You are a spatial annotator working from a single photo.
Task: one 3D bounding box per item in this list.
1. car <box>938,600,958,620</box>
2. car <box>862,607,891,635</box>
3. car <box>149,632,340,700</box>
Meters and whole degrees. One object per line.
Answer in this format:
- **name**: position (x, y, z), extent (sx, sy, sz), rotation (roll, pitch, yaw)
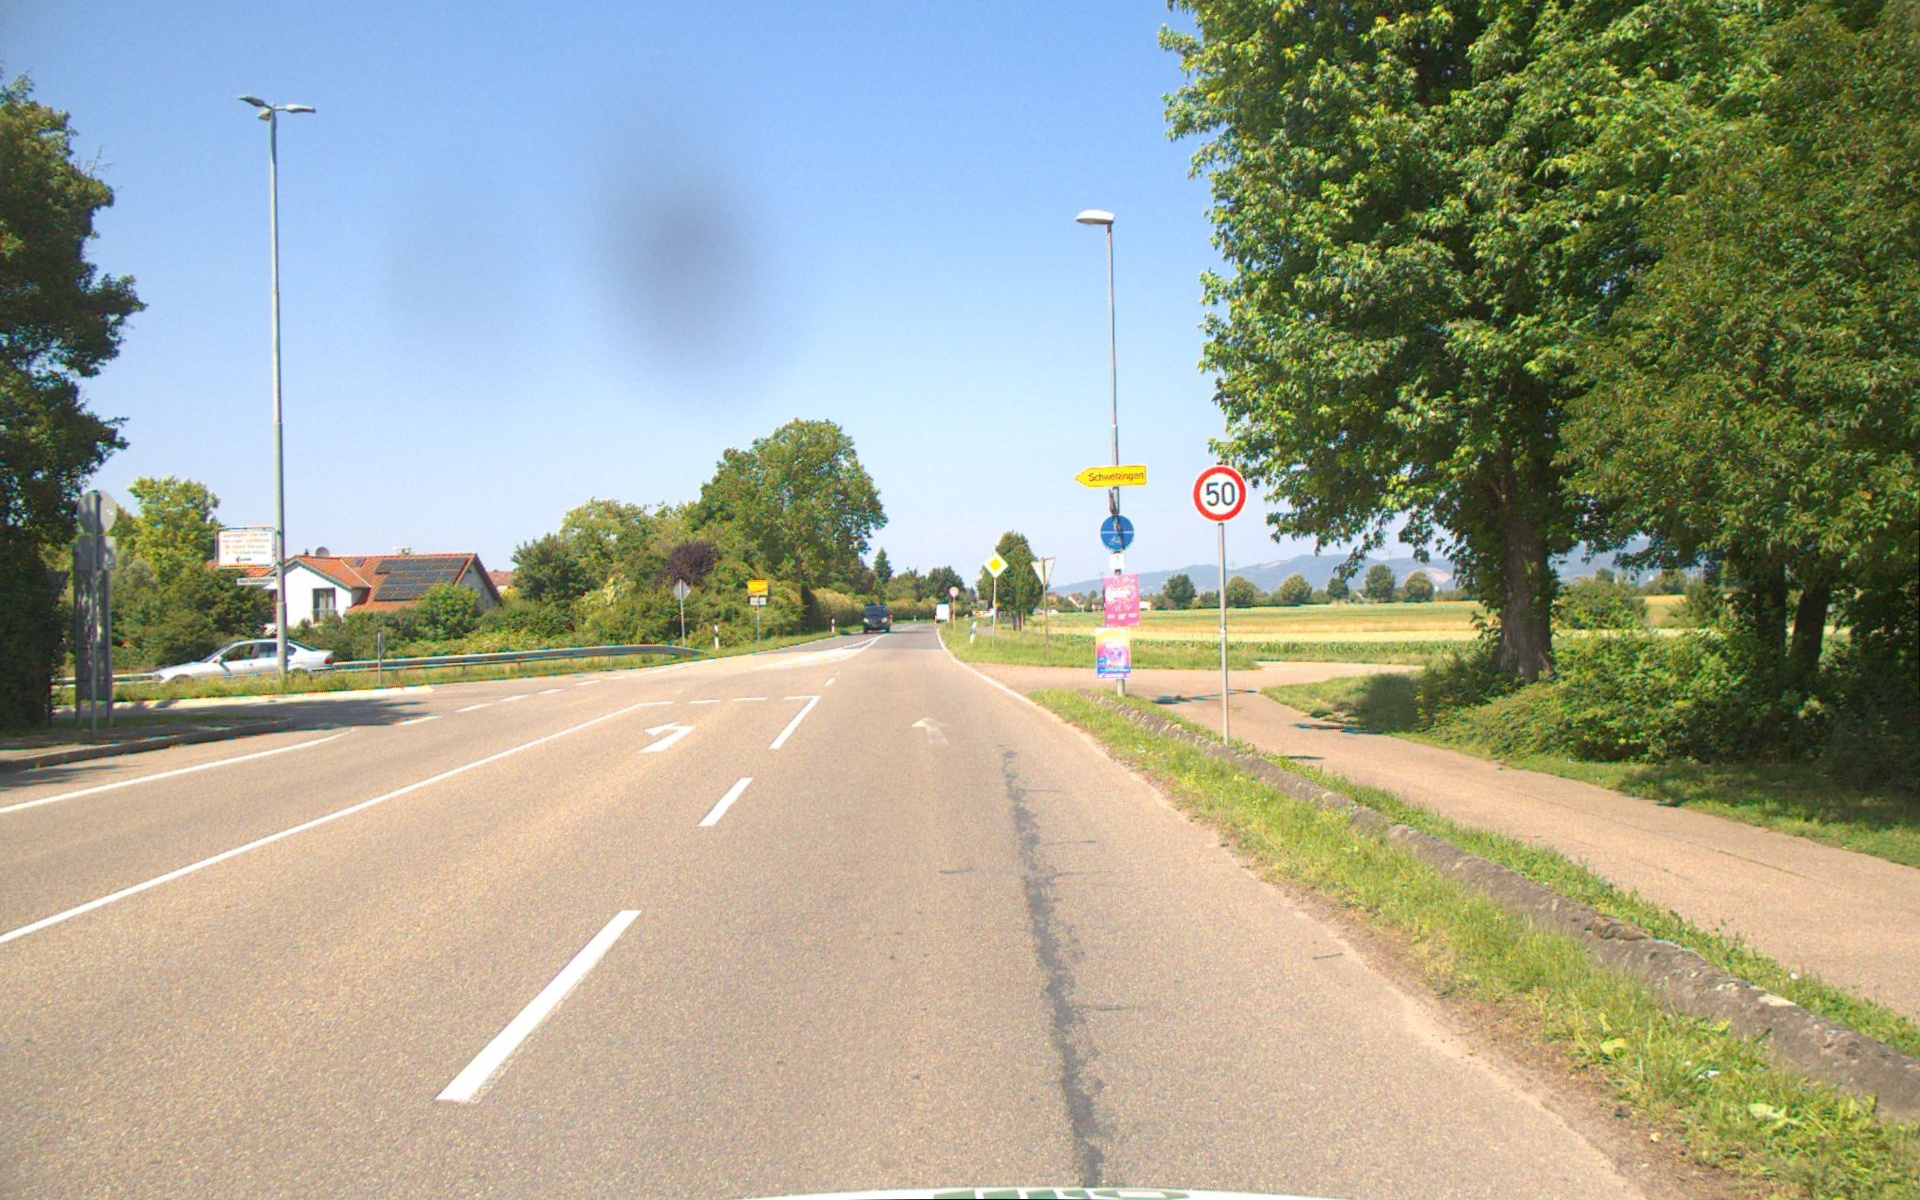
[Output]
- **car**: position (-1.762, 1.439, 242.218), extent (1.951, 2.697, 4.003), rotation (-2, 0, 14)
- **car**: position (-6.433, 1.593, 127.217), extent (2.101, 1.985, 5.244), rotation (-2, 0, -3)
- **car**: position (-18.260, 1.654, 42.273), extent (4.352, 1.496, 1.626), rotation (-2, 0, -28)
